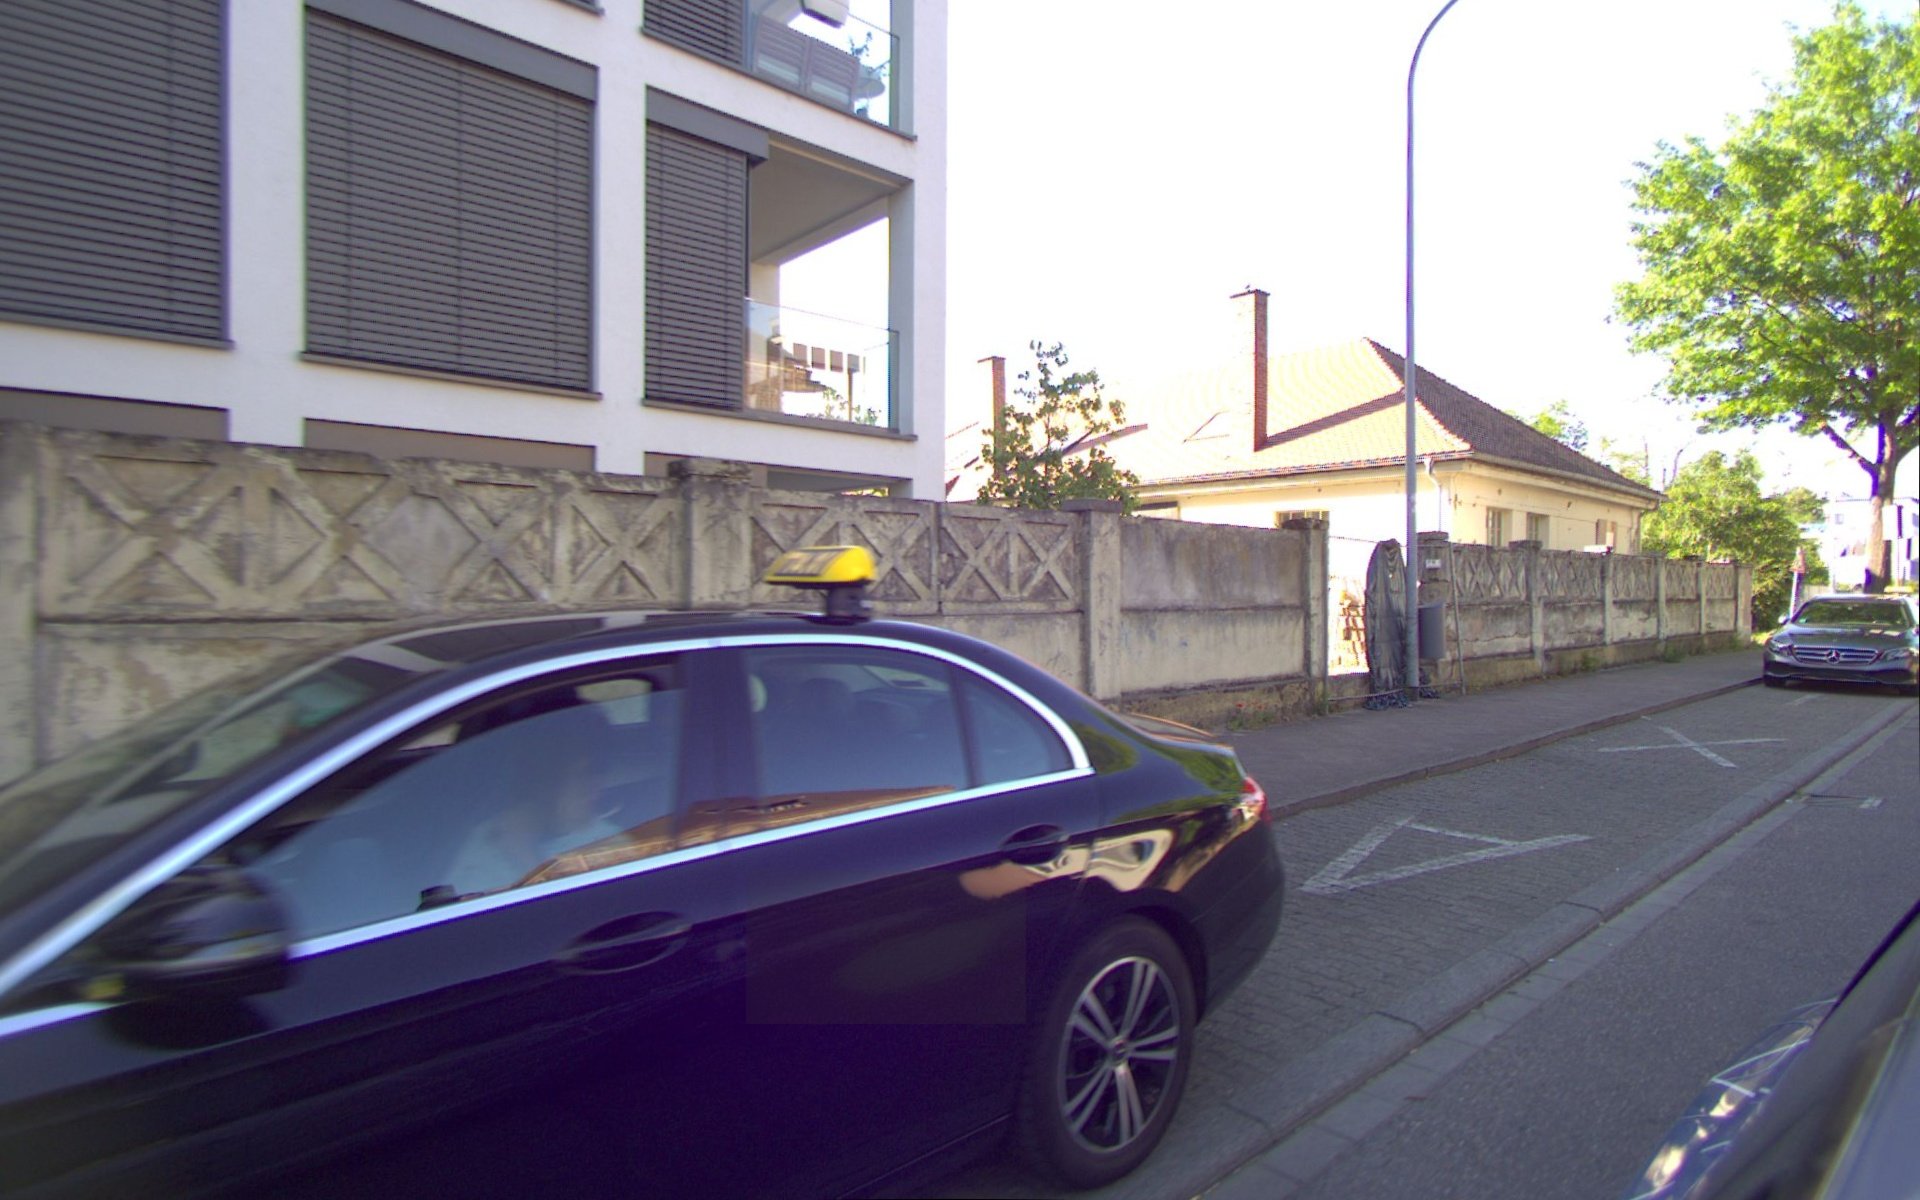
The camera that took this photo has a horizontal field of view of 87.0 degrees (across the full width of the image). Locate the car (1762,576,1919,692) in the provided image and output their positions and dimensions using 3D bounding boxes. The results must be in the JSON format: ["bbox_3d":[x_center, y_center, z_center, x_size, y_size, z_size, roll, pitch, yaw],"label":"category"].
[{"bbox_3d":[14.482,0.460,16.155,4.223,1.622,1.886,0,0,-41],"label":"car"}]

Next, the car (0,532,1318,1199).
[{"bbox_3d":[-1.223,0.630,2.206,4.680,1.428,1.723,0,0,-41],"label":"car"}]
